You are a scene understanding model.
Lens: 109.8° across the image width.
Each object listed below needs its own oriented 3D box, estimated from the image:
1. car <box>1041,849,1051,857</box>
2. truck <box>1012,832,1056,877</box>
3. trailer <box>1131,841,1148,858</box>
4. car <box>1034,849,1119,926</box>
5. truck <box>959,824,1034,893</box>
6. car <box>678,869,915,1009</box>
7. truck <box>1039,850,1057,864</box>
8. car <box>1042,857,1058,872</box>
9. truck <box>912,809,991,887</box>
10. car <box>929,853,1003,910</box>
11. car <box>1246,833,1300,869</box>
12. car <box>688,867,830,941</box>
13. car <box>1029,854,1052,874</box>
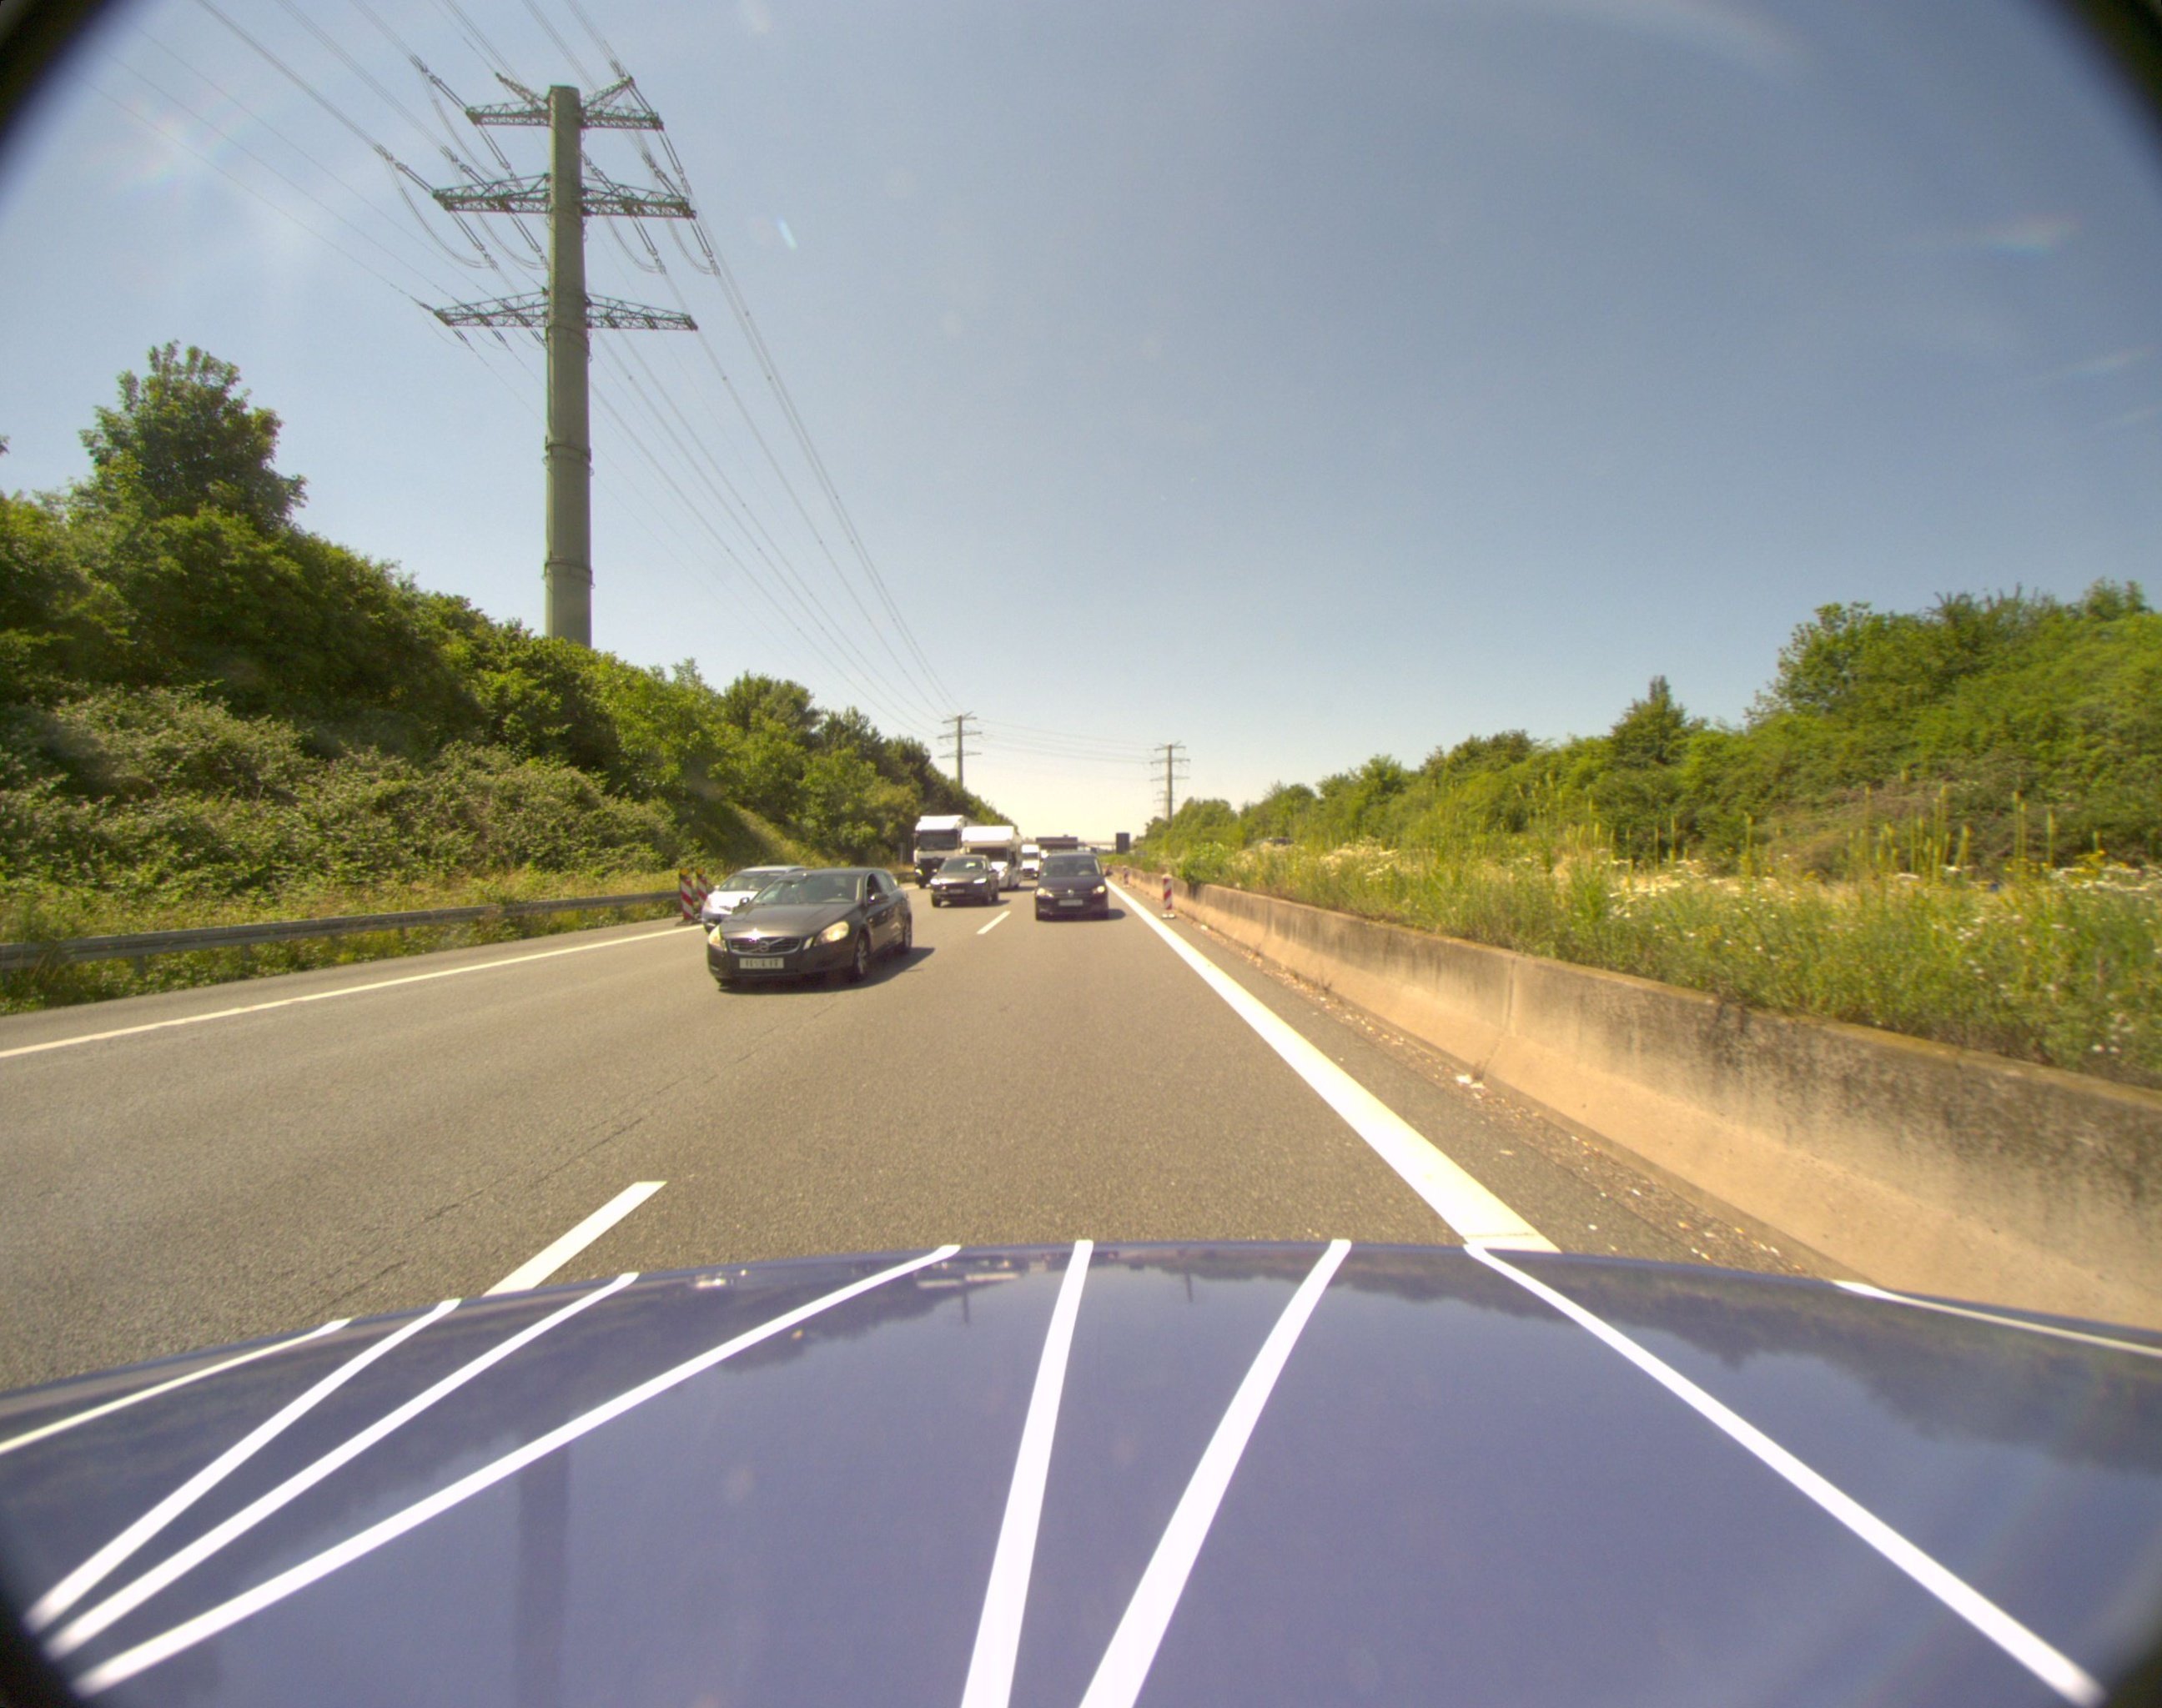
[{"bbox_3d":[-8.649,-0.290,187.957,1.998,2.002,4.000,-2,0,0],"label":"car"},{"bbox_3d":[-3.405,0.014,57.436,2.514,2.997,9.897,-2,0,1],"label":"truck"},{"bbox_3d":[14.623,-1.095,191.456,3.024,4.143,14.019,2,0,0],"label":"trailer"},{"bbox_3d":[-0.154,0.758,19.578,1.892,1.692,4.382,-2,0,-2],"label":"car"},{"bbox_3d":[-4.073,0.170,38.819,2.514,2.997,9.897,-2,0,1],"label":"truck"},{"bbox_3d":[-3.693,1.008,10.757,1.801,1.429,4.230,-2,0,-2],"label":"car"},{"bbox_3d":[-5.551,0.502,128.777,2.409,2.203,6.743,-2,0,1],"label":"truck"},{"bbox_3d":[-3.774,1.280,93.347,1.892,1.692,4.382,-2,0,-2],"label":"car"},{"bbox_3d":[-7.653,-0.360,46.668,2.655,4.128,11.660,-2,0,0],"label":"truck"},{"bbox_3d":[-3.807,0.851,25.878,1.892,1.692,4.382,-2,0,-2],"label":"car"},{"bbox_3d":[11.659,-0.189,46.543,1.998,2.079,5.228,0,0,0],"label":"car"},{"bbox_3d":[-7.435,1.094,17.952,1.801,1.429,3.730,-2,0,-2],"label":"car"},{"bbox_3d":[-3.707,0.883,69.712,1.892,1.692,4.382,-2,0,-2],"label":"car"}]
